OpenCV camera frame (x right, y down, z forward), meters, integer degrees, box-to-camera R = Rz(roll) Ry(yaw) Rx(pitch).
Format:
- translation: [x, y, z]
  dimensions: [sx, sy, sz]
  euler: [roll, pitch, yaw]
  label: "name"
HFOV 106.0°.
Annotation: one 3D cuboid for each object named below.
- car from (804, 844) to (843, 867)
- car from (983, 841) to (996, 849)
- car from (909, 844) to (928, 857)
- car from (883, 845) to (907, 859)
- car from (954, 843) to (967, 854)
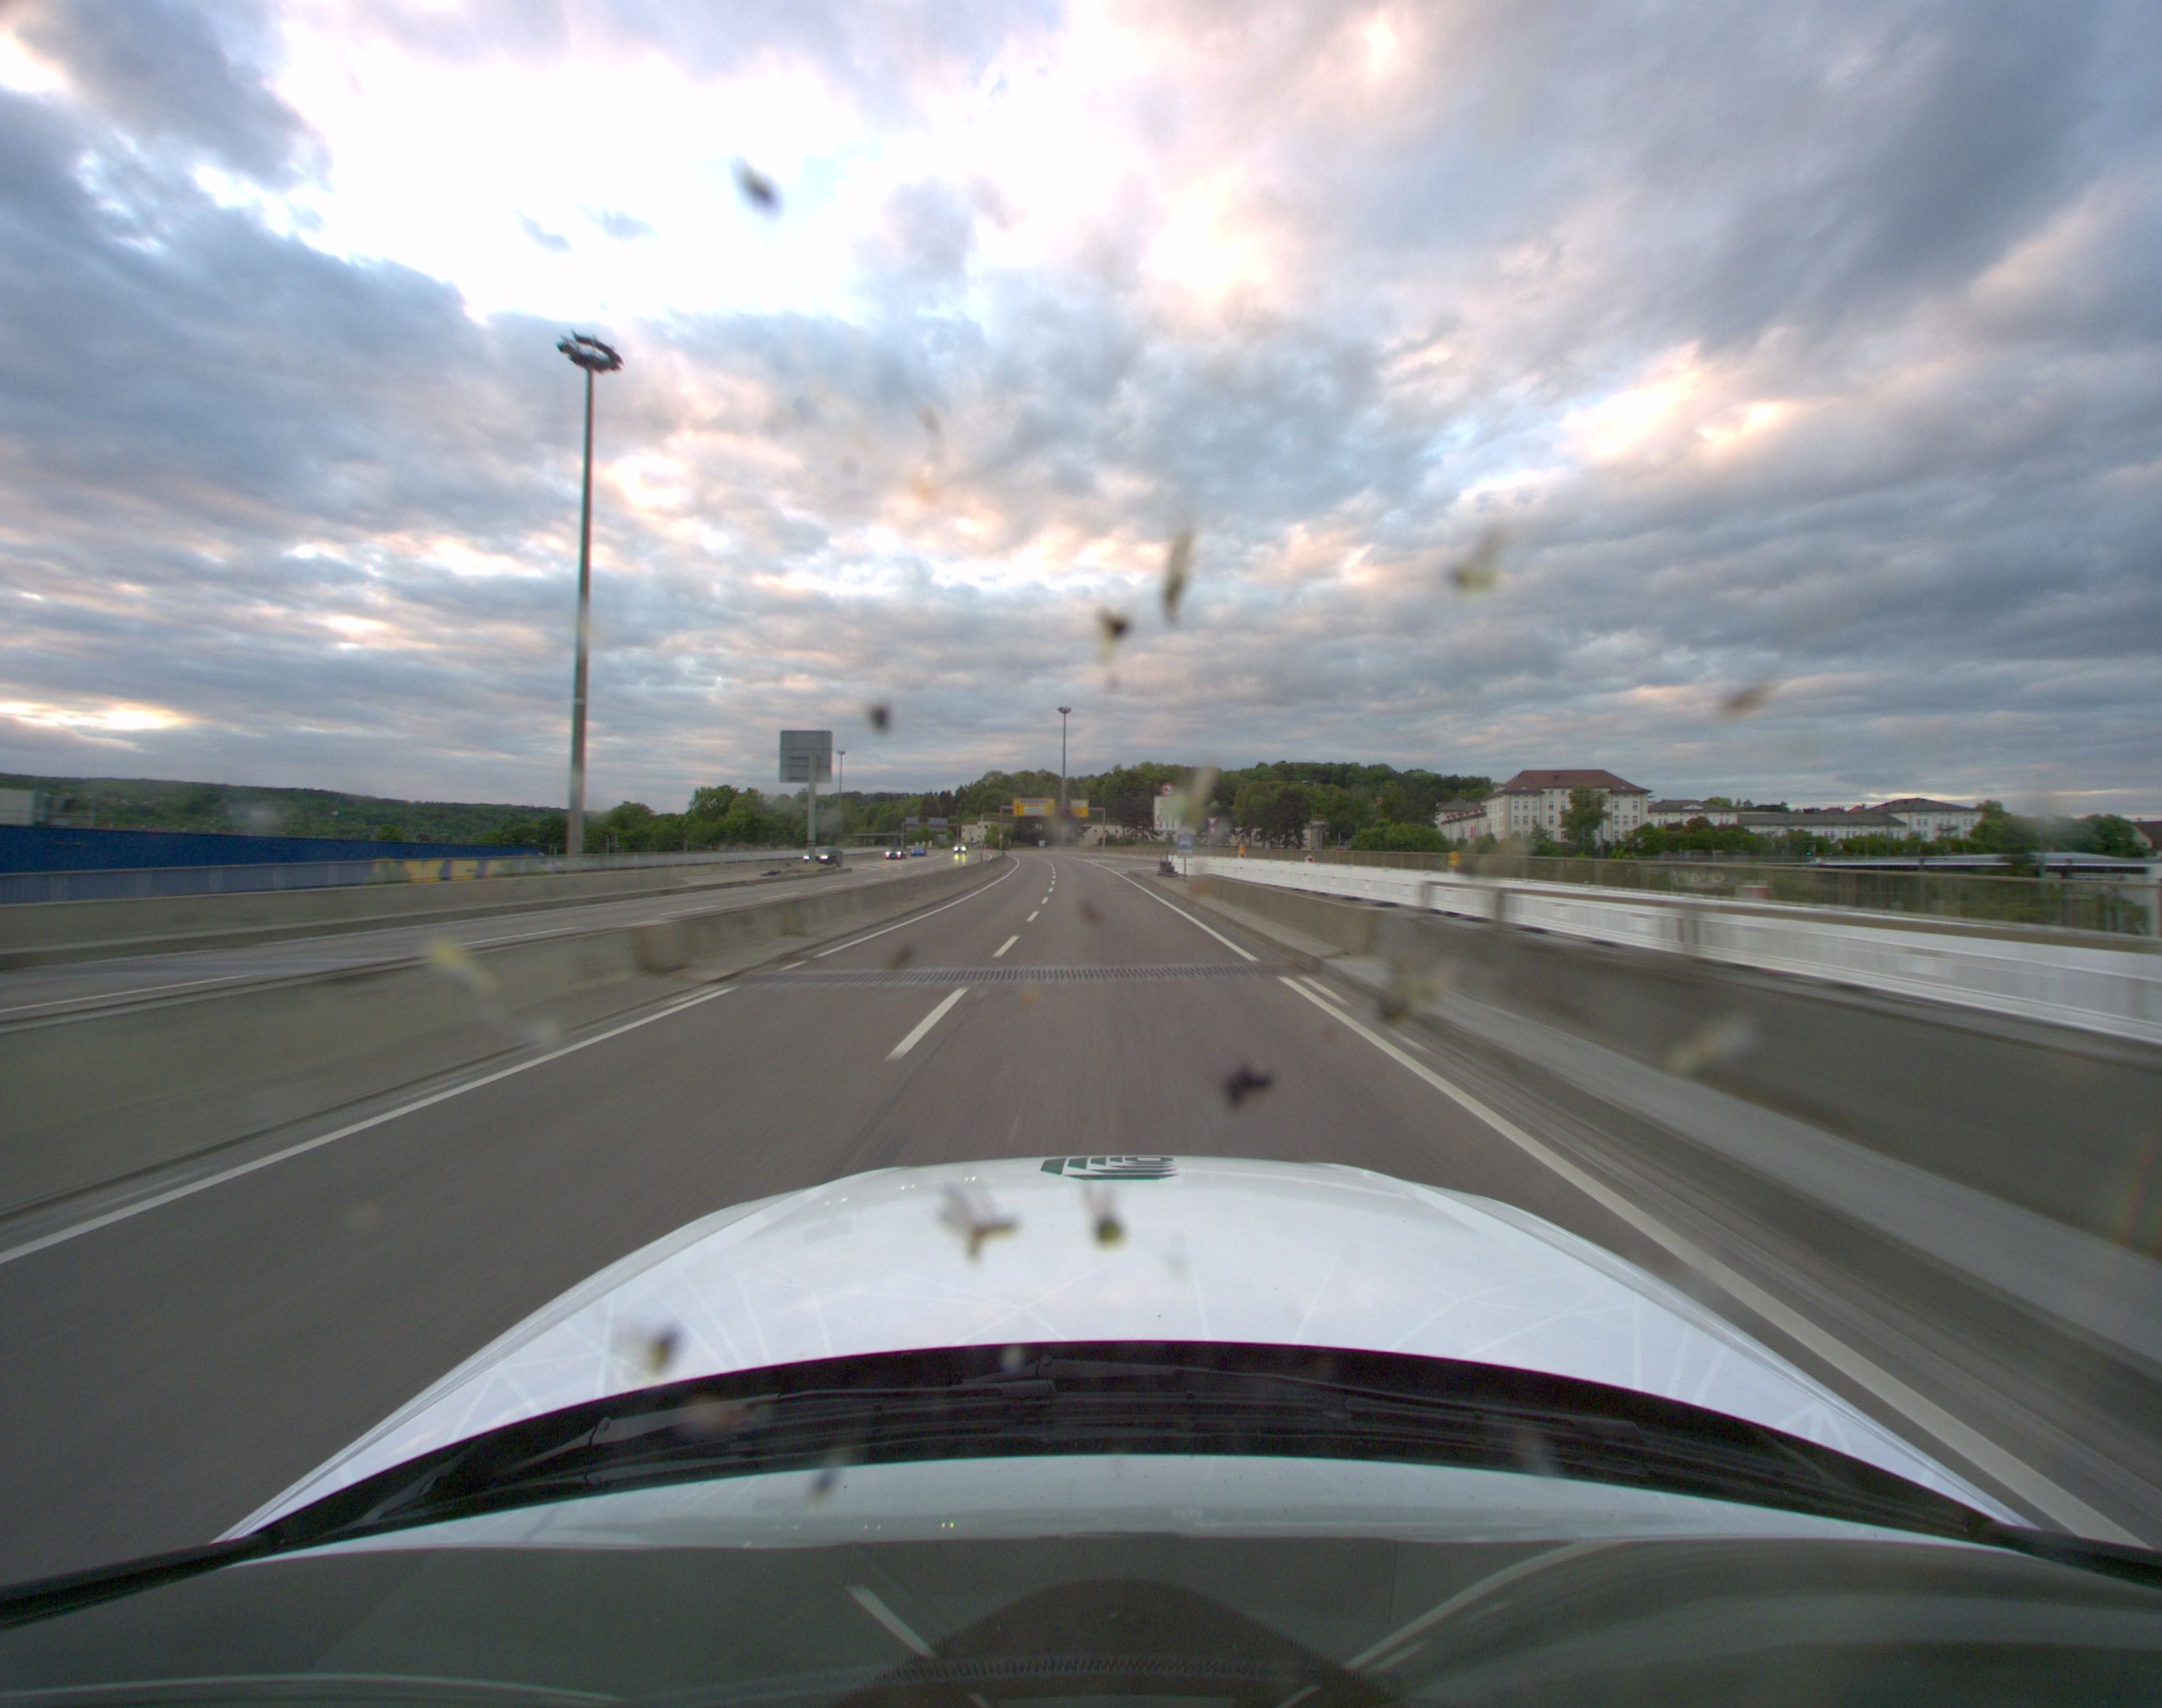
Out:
- translation: [-20.132, 0.133, 63.789]
  dimensions: [1.630, 1.717, 4.001]
  euler: [1, 0, 1]
  label: "car"
- translation: [-21.534, -2.069, 192.247]
  dimensions: [2.309, 1.763, 4.239]
  euler: [1, 0, -16]
  label: "car"
- translation: [-21.559, -0.499, 108.301]
  dimensions: [1.893, 1.596, 4.158]
  euler: [0, 1, -3]
  label: "car"
- translation: [-20.465, -0.188, 89.687]
  dimensions: [1.791, 1.486, 3.838]
  euler: [2, 0, -2]
  label: "car"
- translation: [-18.007, -0.791, 121.910]
  dimensions: [1.709, 1.494, 4.070]
  euler: [4, 0, -8]
  label: "car"
